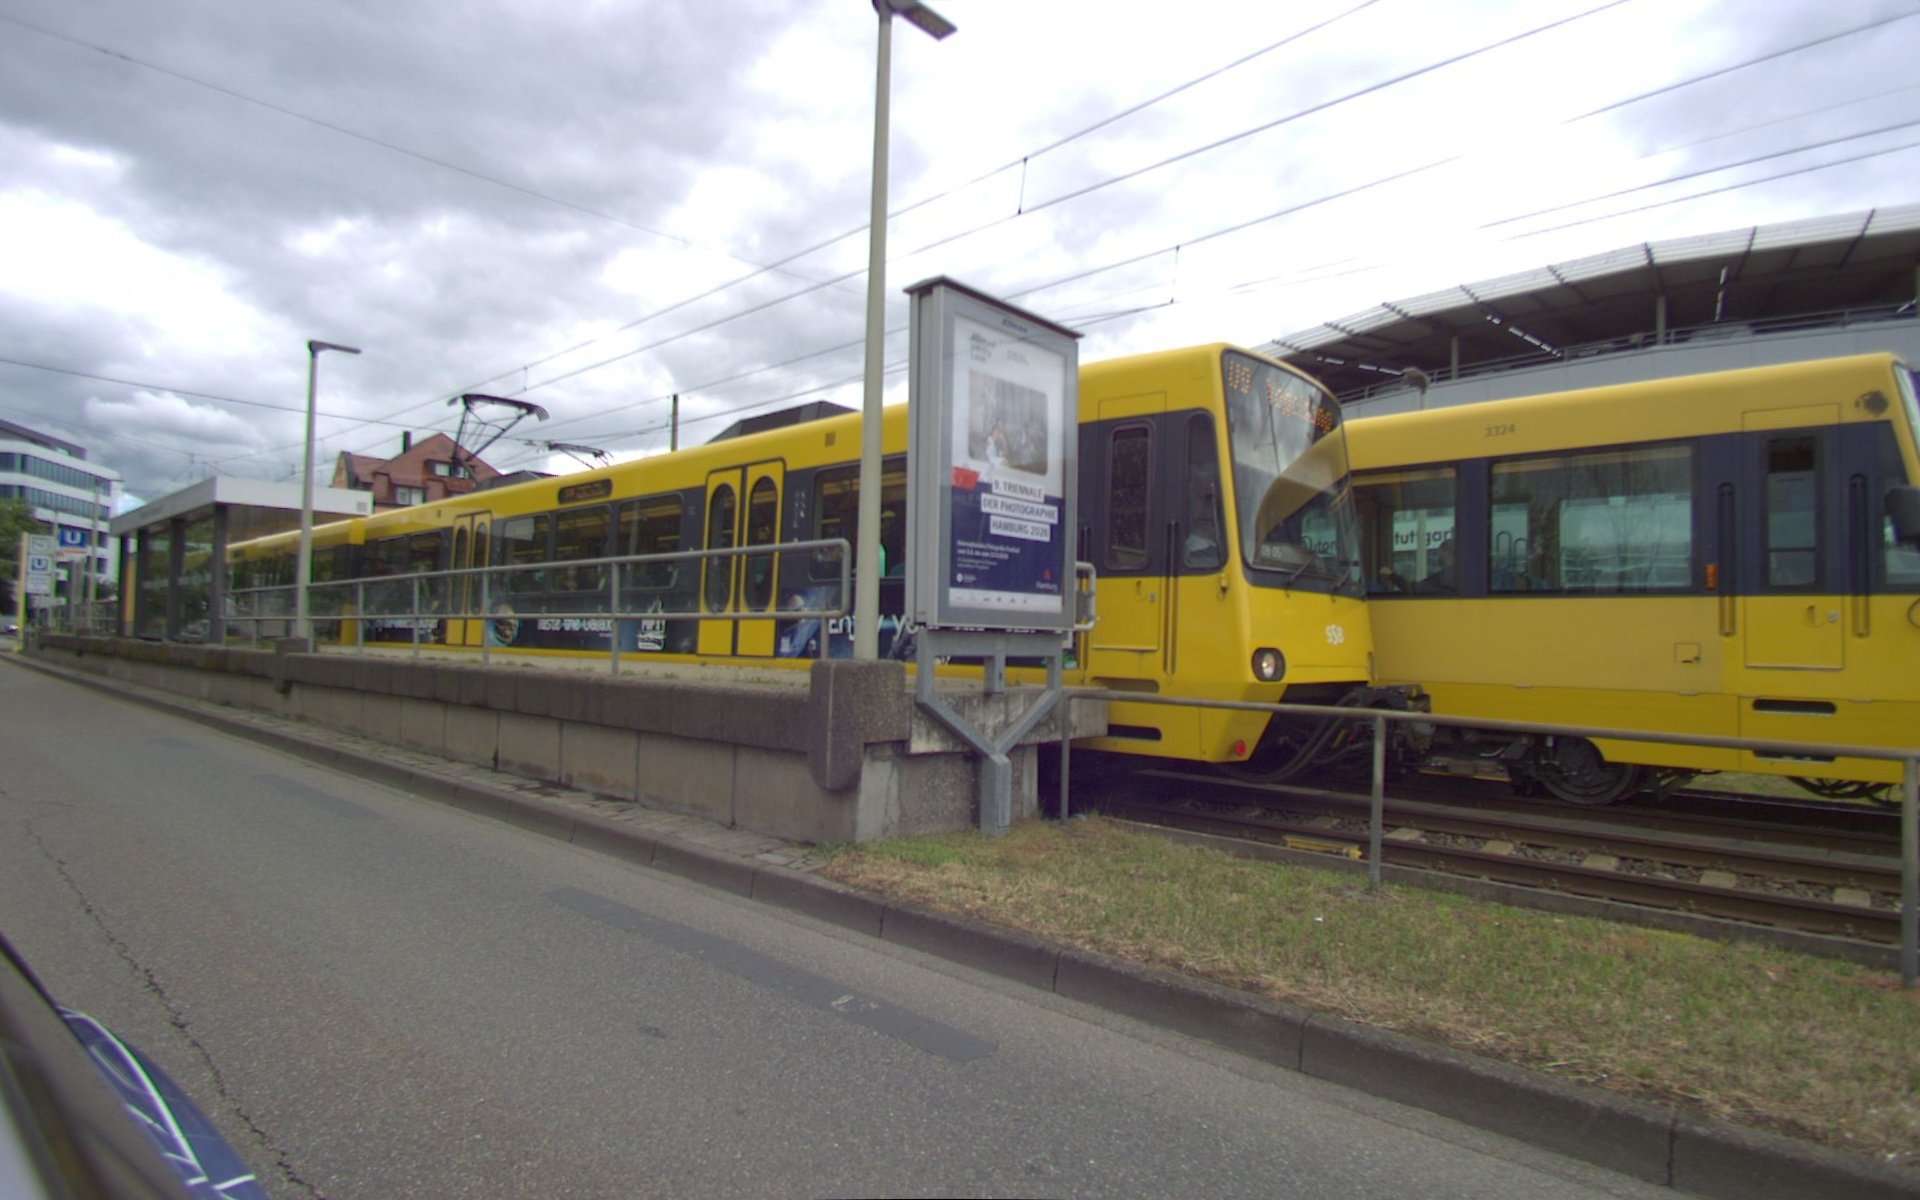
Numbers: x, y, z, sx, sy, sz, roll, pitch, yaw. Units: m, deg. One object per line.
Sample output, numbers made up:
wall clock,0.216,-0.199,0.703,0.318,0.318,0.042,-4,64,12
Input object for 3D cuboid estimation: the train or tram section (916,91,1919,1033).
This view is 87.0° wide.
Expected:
train or tram section,4.391,-0.106,6.174,10.193,4.096,2.940,-2,-4,42

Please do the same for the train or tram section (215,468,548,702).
train or tram section,-13.205,-0.064,22.268,11.909,3.997,2.711,-2,-4,42

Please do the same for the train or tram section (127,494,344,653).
train or tram section,-22.048,-0.466,30.358,11.909,3.997,2.711,-2,-4,42

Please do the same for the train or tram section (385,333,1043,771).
train or tram section,-4.394,-0.249,14.215,11.909,3.997,2.711,-2,-4,42

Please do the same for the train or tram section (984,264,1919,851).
train or tram section,4.349,-0.227,9.679,9.178,3.824,1.972,-1,-3,43
